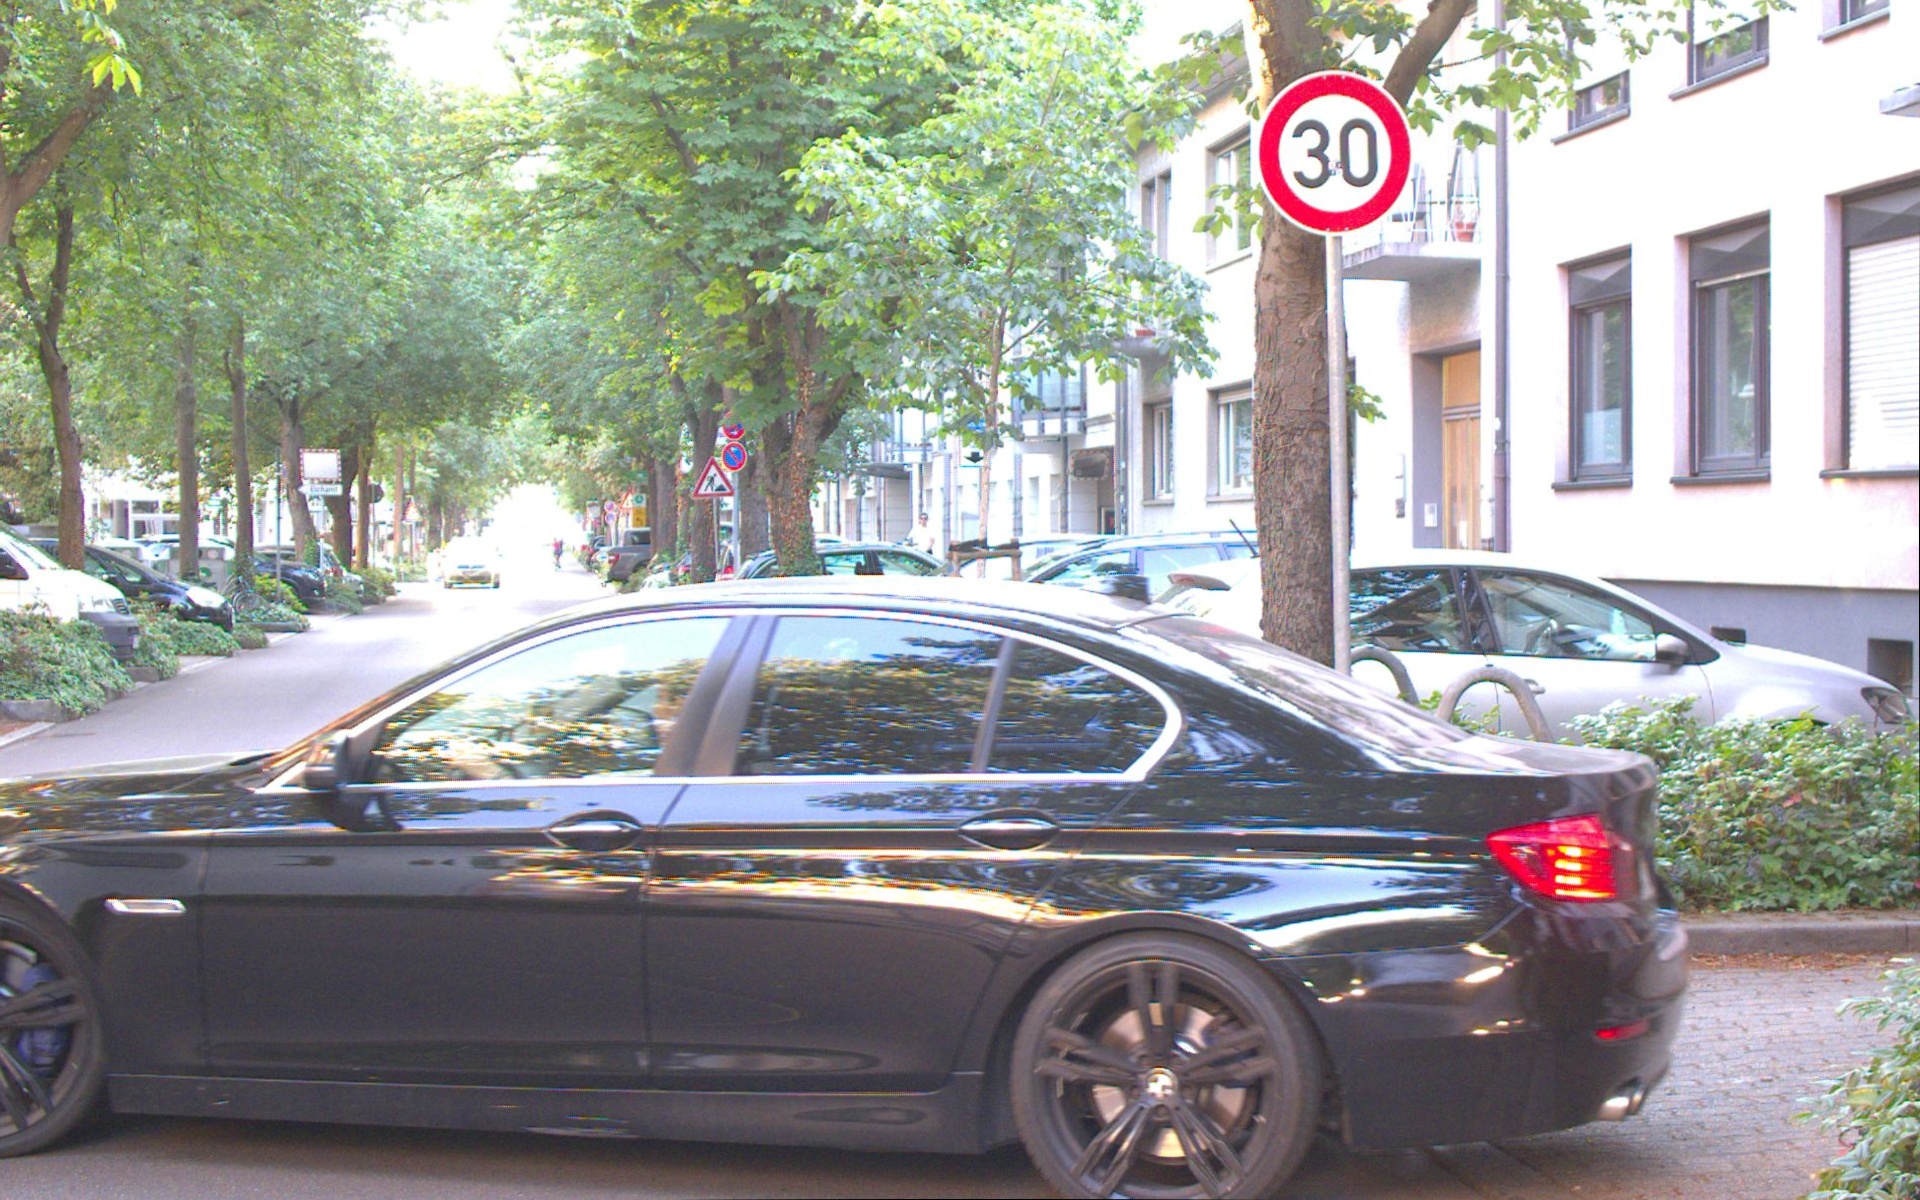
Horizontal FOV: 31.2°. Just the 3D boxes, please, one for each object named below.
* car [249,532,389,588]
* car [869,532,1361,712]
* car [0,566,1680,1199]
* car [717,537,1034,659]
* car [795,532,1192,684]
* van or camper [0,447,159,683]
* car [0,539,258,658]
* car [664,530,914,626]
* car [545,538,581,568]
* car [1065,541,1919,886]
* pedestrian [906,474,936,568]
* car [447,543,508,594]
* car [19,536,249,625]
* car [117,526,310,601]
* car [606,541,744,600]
[{"bbox_3d":[-19.104,-1.209,102.596,3.967,1.614,1.785,0,1,-5],"label":"car"},{"bbox_3d":[1.296,0.161,29.685,3.967,1.471,1.785,-1,1,-8],"label":"car"},{"bbox_3d":[-0.644,0.669,8.541,4.748,1.475,1.799,0,1,12],"label":"car"},{"bbox_3d":[-1.135,-0.050,44.960,3.967,1.522,1.785,-1,1,-7],"label":"car"},{"bbox_3d":[0.317,0.062,36.149,3.967,1.522,1.785,-1,1,-7],"label":"car"},{"bbox_3d":[-11.131,-0.380,37.044,4.662,2.470,2.000,0,1,-7],"label":"van or camper"},{"bbox_3d":[-11.929,-0.035,48.042,3.967,1.614,1.785,0,1,-6],"label":"car"},{"bbox_3d":[-2.852,-0.381,56.823,3.967,1.522,1.785,-1,1,-8],"label":"car"},{"bbox_3d":[-21.154,-2.514,183.228,1.822,1.525,4.001,-1,1,-6],"label":"car"},{"bbox_3d":[2.564,0.475,16.076,3.908,1.471,1.665,-1,1,-8],"label":"car"},{"bbox_3d":[-0.841,-1.694,73.604,0.589,2.007,0.669,0,1,-5],"label":"pedestrian"},{"bbox_3d":[-15.385,-1.021,109.832,1.779,1.557,4.169,0,1,-6],"label":"car"},{"bbox_3d":[-15.468,-0.378,64.507,3.967,1.614,1.785,0,1,-5],"label":"car"},{"bbox_3d":[-16.511,-0.813,76.149,3.967,1.614,1.785,0,1,-5],"label":"car"},{"bbox_3d":[-8.359,-0.884,100.775,3.967,1.678,1.785,0,1,-5],"label":"car"}]
